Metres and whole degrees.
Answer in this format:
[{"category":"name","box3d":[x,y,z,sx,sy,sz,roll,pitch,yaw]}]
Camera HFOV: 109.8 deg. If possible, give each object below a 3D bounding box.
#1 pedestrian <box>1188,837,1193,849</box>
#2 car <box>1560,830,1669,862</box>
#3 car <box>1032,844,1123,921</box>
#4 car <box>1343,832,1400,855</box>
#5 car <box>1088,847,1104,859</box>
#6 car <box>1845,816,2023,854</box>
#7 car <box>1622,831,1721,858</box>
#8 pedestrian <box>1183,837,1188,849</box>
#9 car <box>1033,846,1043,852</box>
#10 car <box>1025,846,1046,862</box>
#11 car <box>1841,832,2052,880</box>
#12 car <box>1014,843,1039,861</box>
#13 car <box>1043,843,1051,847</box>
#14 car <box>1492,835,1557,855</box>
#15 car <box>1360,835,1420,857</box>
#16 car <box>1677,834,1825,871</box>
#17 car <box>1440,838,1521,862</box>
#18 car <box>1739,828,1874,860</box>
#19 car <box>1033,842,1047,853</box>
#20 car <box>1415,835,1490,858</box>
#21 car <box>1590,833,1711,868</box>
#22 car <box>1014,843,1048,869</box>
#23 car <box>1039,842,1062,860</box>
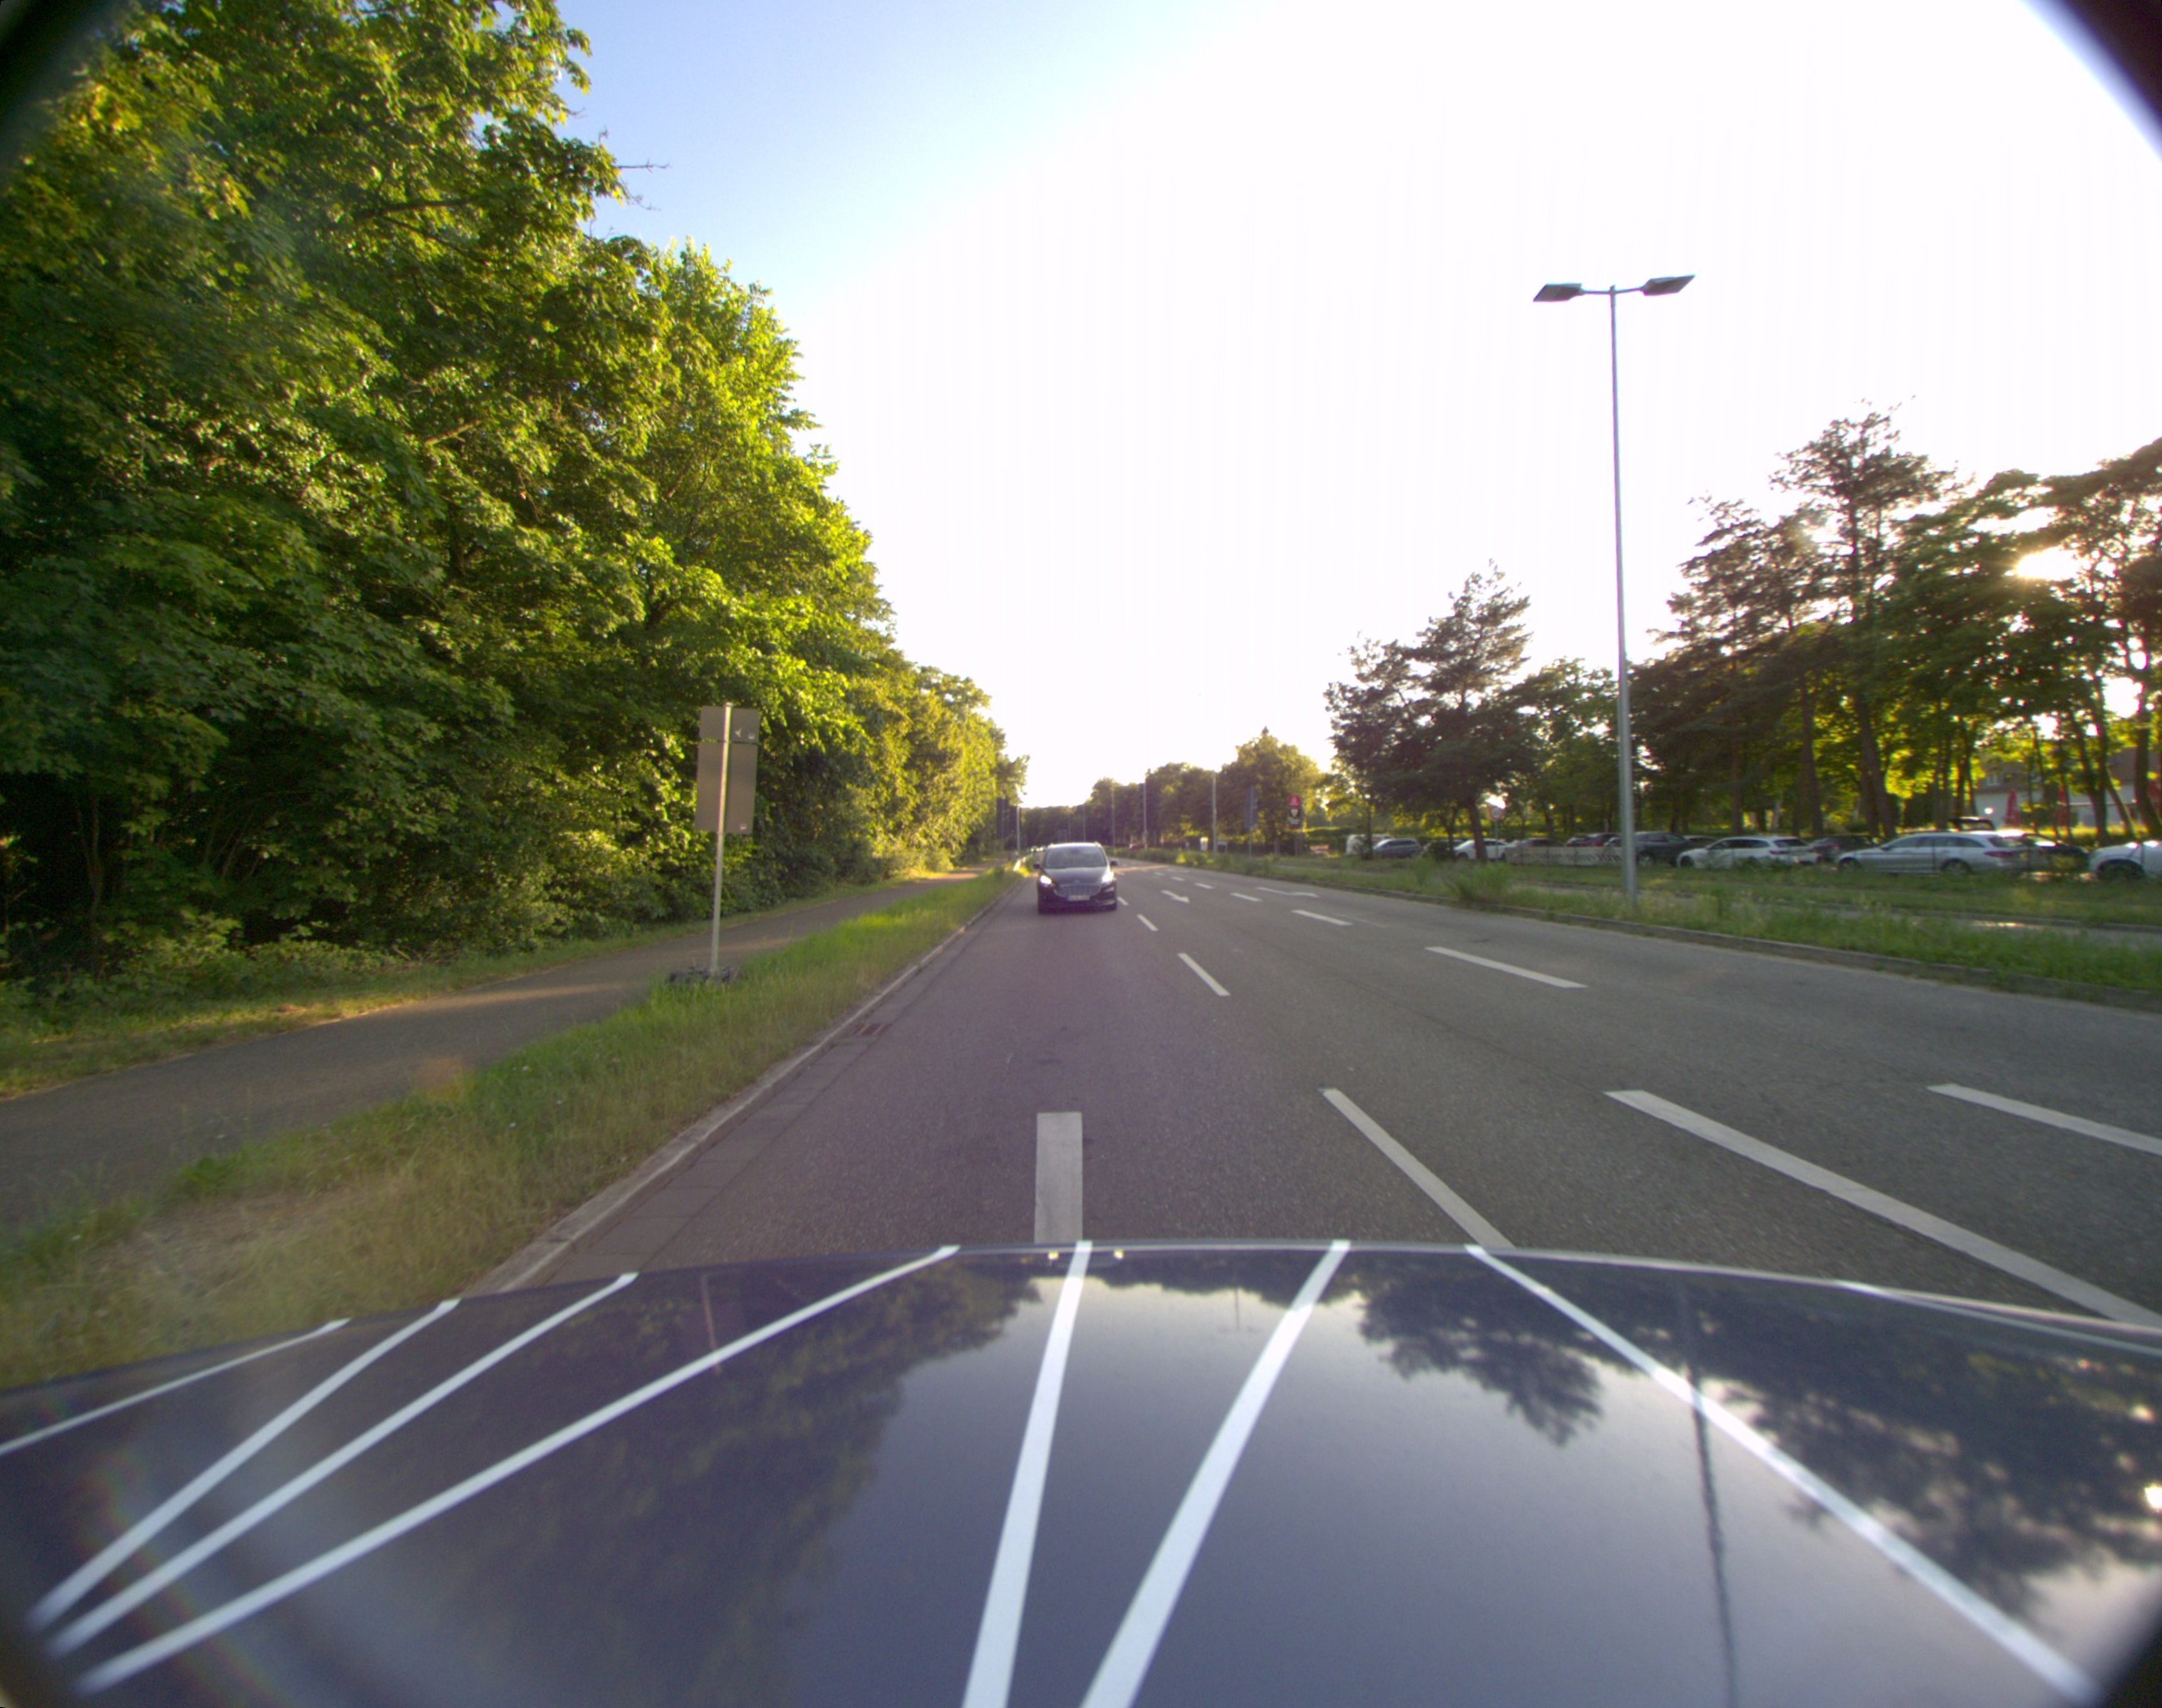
[{"category":"pedestrian","box3d":[15.738,-1.586,109.685,0.567,1.764,0.676,-2,1,1]},{"category":"car","box3d":[26.098,-0.402,37.271,3.998,1.445,1.999,-1,1,-3]},{"category":"car","box3d":[-0.129,0.602,19.268,2.011,1.652,4.819,-1,1,-1]},{"category":"car","box3d":[23.871,-0.866,62.525,3.997,1.854,1.825,-1,1,0]},{"category":"car","box3d":[1.809,-0.168,94.158,1.871,1.397,4.075,-2,1,0]},{"category":"car","box3d":[34.152,-0.734,30.650,1.865,1.399,4.545,-1,1,-4]},{"category":"car","box3d":[33.489,-0.549,43.278,1.865,1.399,4.545,-1,1,-4]},{"category":"pedestrian","box3d":[15.106,-1.547,109.678,0.567,1.736,0.676,-2,1,1]},{"category":"car","box3d":[-10.943,-1.213,191.556,1.872,1.397,4.071,-3,1,-11]},{"category":"car","box3d":[-4.853,-0.050,81.215,1.999,1.615,4.396,-2,1,0]},{"category":"car","box3d":[26.568,0.030,23.569,1.865,1.324,3.998,-1,1,-4]},{"category":"car","box3d":[-5.180,-0.254,73.010,1.999,1.615,4.396,-2,1,0]},{"category":"car","box3d":[-9.690,-2.573,217.316,1.746,1.281,3.741,-1,1,-9]},{"category":"car","box3d":[32.724,-0.668,56.238,1.865,1.399,4.545,-1,1,-4]},{"category":"car","box3d":[24.151,-0.627,59.440,3.997,1.628,1.825,-1,1,0]},{"category":"car","box3d":[26.265,-0.088,30.042,1.679,1.317,4.496,-1,1,-4]},{"category":"car","box3d":[25.053,-0.256,47.758,4.169,1.470,1.783,-1,1,-3]},{"category":"car","box3d":[34.262,-0.494,36.101,1.865,1.399,4.545,-1,1,-4]},{"category":"car","box3d":[-6.539,-1.028,120.880,1.999,1.615,4.396,-2,1,0]},{"category":"car","box3d":[24.712,-0.511,50.655,4.169,1.470,1.783,-1,1,-3]},{"category":"car","box3d":[25.229,-0.157,33.771,4.047,1.470,1.762,-1,1,1]},{"category":"car","box3d":[-3.437,0.112,53.050,1.999,1.615,4.396,-2,1,0]},{"category":"car","box3d":[-2.951,-0.342,73.316,1.999,1.615,4.396,-2,1,0]}]
